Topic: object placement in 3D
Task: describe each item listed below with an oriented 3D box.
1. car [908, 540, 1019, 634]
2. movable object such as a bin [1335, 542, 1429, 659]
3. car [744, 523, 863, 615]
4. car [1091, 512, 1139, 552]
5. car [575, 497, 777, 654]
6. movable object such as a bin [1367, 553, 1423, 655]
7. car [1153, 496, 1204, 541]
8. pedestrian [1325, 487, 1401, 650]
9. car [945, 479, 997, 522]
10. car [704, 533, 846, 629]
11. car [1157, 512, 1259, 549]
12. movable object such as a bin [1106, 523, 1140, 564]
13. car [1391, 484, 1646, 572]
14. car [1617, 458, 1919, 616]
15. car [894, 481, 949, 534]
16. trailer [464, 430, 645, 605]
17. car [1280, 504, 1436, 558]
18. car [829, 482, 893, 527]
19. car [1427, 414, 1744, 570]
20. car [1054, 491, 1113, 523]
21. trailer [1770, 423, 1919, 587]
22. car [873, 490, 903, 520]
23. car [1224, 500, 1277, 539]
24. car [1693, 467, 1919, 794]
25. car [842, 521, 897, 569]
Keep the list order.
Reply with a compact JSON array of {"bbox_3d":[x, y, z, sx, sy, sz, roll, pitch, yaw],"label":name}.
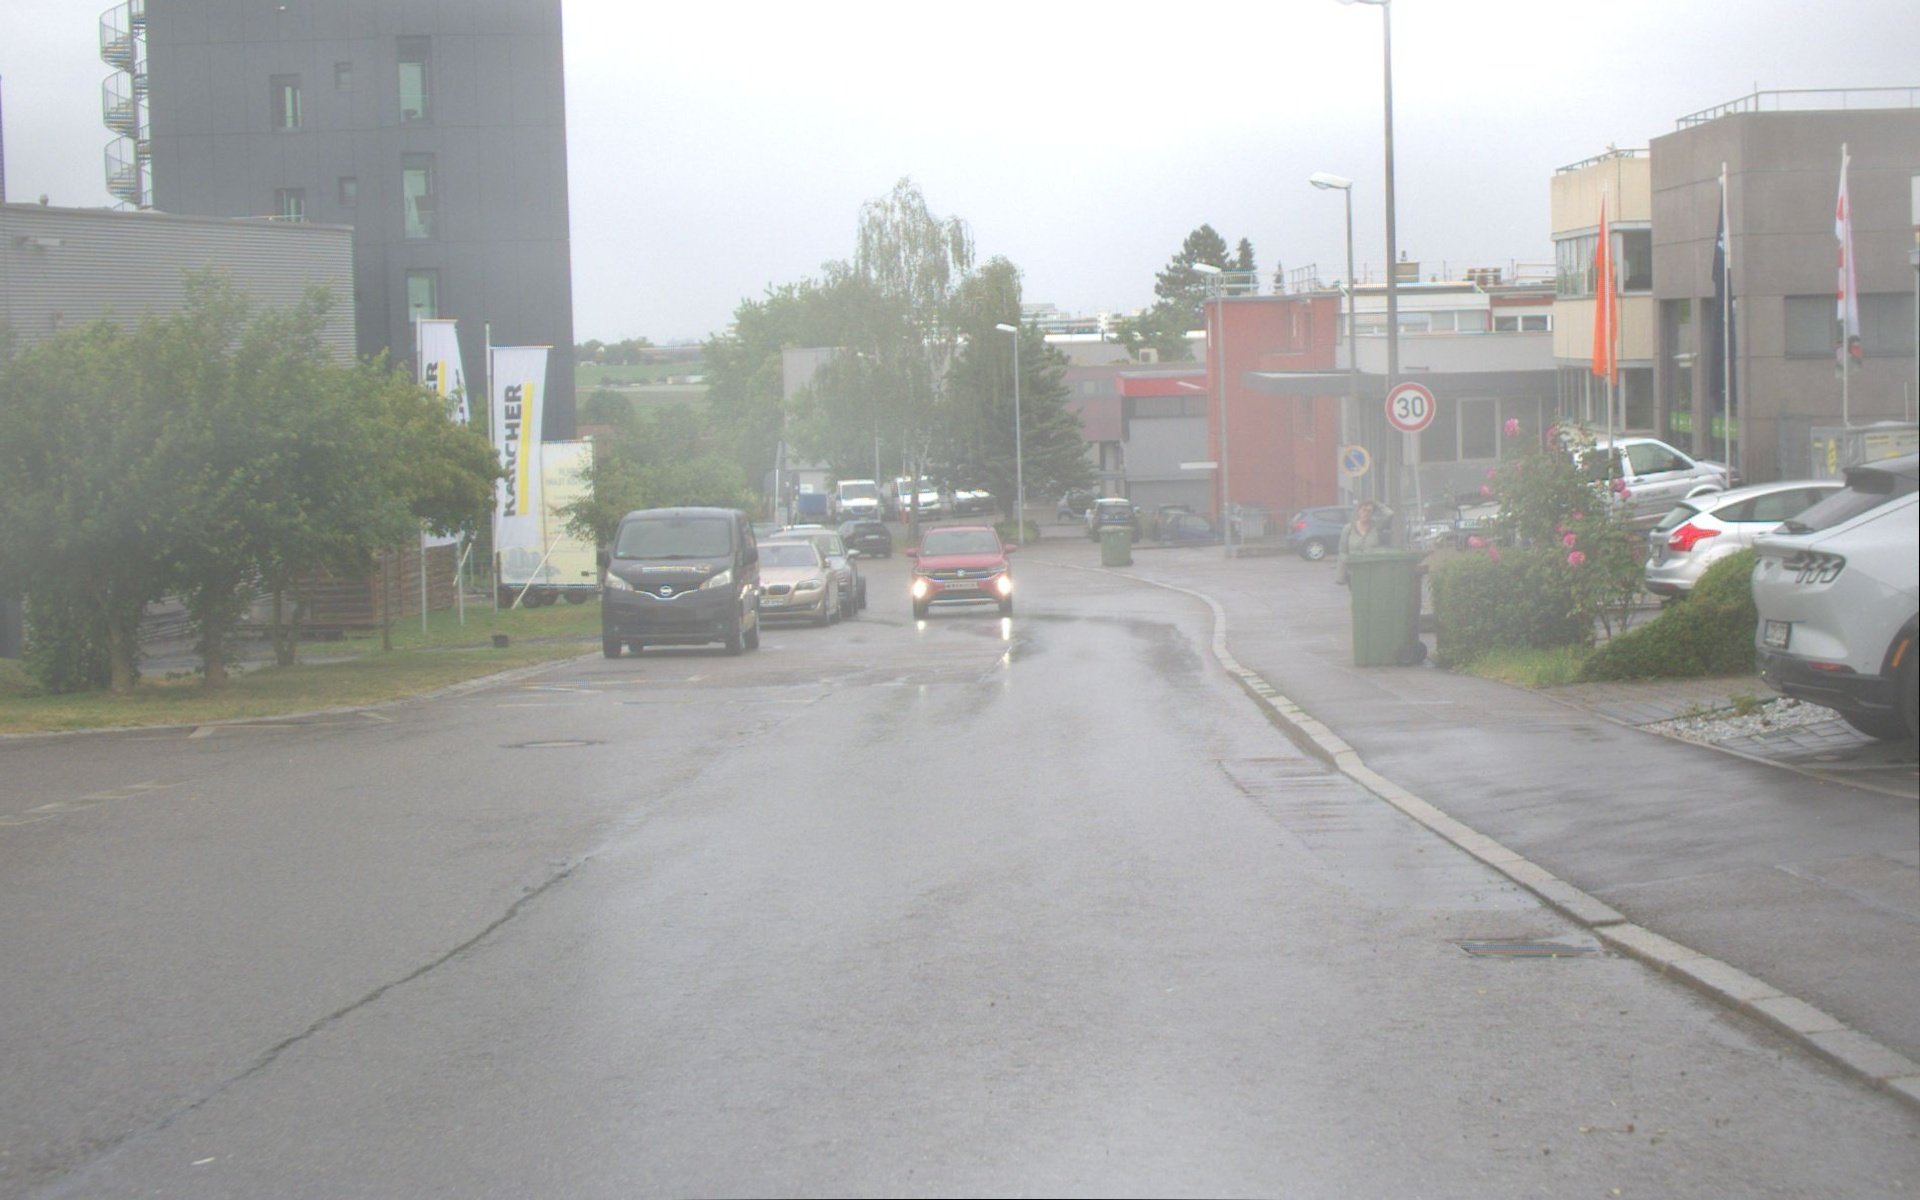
[{"bbox_3d":[0.095,-0.251,61.454,1.747,1.503,3.935,-4,0,2],"label":"car"},{"bbox_3d":[3.856,-0.003,31.488,0.771,1.026,0.808,-2,1,3],"label":"movable object such as a bin"},{"bbox_3d":[-2.895,-0.591,64.497,1.957,1.571,4.840,-3,1,0],"label":"car"},{"bbox_3d":[6.084,-2.657,135.394,1.697,1.470,4.000,-2,1,1],"label":"car"},{"bbox_3d":[-3.525,-0.341,43.485,1.915,1.825,4.848,-2,1,2],"label":"car"},{"bbox_3d":[4.187,0.035,33.082,0.472,0.964,0.514,-2,1,3],"label":"movable object such as a bin"},{"bbox_3d":[8.631,-3.221,136.047,1.739,1.648,4.000,-2,1,1],"label":"car"},{"bbox_3d":[4.446,-0.349,37.971,0.736,1.761,0.808,-2,1,3],"label":"pedestrian"},{"bbox_3d":[0.530,-4.948,171.443,2.145,2.007,3.940,-2,1,-5],"label":"car"},{"bbox_3d":[-3.078,-0.365,58.124,1.956,1.456,5.248,-2,1,1],"label":"car"},{"bbox_3d":[8.466,-2.383,117.527,3.401,1.159,1.792,-2,2,3],"label":"car"},{"bbox_3d":[4.513,-1.570,95.019,0.806,1.089,0.709,-3,2,-4],"label":"movable object such as a bin"},{"bbox_3d":[11.916,-1.545,73.566,5.091,1.608,1.925,-3,2,1],"label":"car"},{"bbox_3d":[9.948,-0.762,40.046,4.120,1.568,2.004,-4,1,1],"label":"car"},{"bbox_3d":[-1.907,-4.576,170.512,2.192,2.451,4.001,-2,1,-7],"label":"car"},{"bbox_3d":[-10.212,-2.051,86.510,4.182,4.188,2.002,-2,1,40],"label":"trailer"},{"bbox_3d":[10.463,-1.807,90.558,3.895,1.379,1.821,0,1,1],"label":"car"},{"bbox_3d":[-4.931,-4.718,170.145,2.264,2.007,4.001,-2,1,-14],"label":"car"},{"bbox_3d":[11.656,-2.002,64.316,5.299,2.006,2.222,-10,0,2],"label":"car"},{"bbox_3d":[5.658,-4.262,157.519,2.547,1.347,1.242,-2,2,-4],"label":"car"},{"bbox_3d":[14.109,-1.530,53.923,1.887,2.408,4.308,-2,2,3],"label":"trailer"},{"bbox_3d":[-3.681,-4.849,176.149,1.290,1.419,2.547,-2,1,-5],"label":"car"},{"bbox_3d":[11.397,-3.142,135.006,1.729,1.417,4.000,-2,1,1],"label":"car"},{"bbox_3d":[6.303,0.000,17.582,4.597,1.533,2.079,-4,1,1],"label":"car"},{"bbox_3d":[-3.426,-2.059,129.848,1.956,1.670,4.473,-2,0,-2],"label":"car"}]
